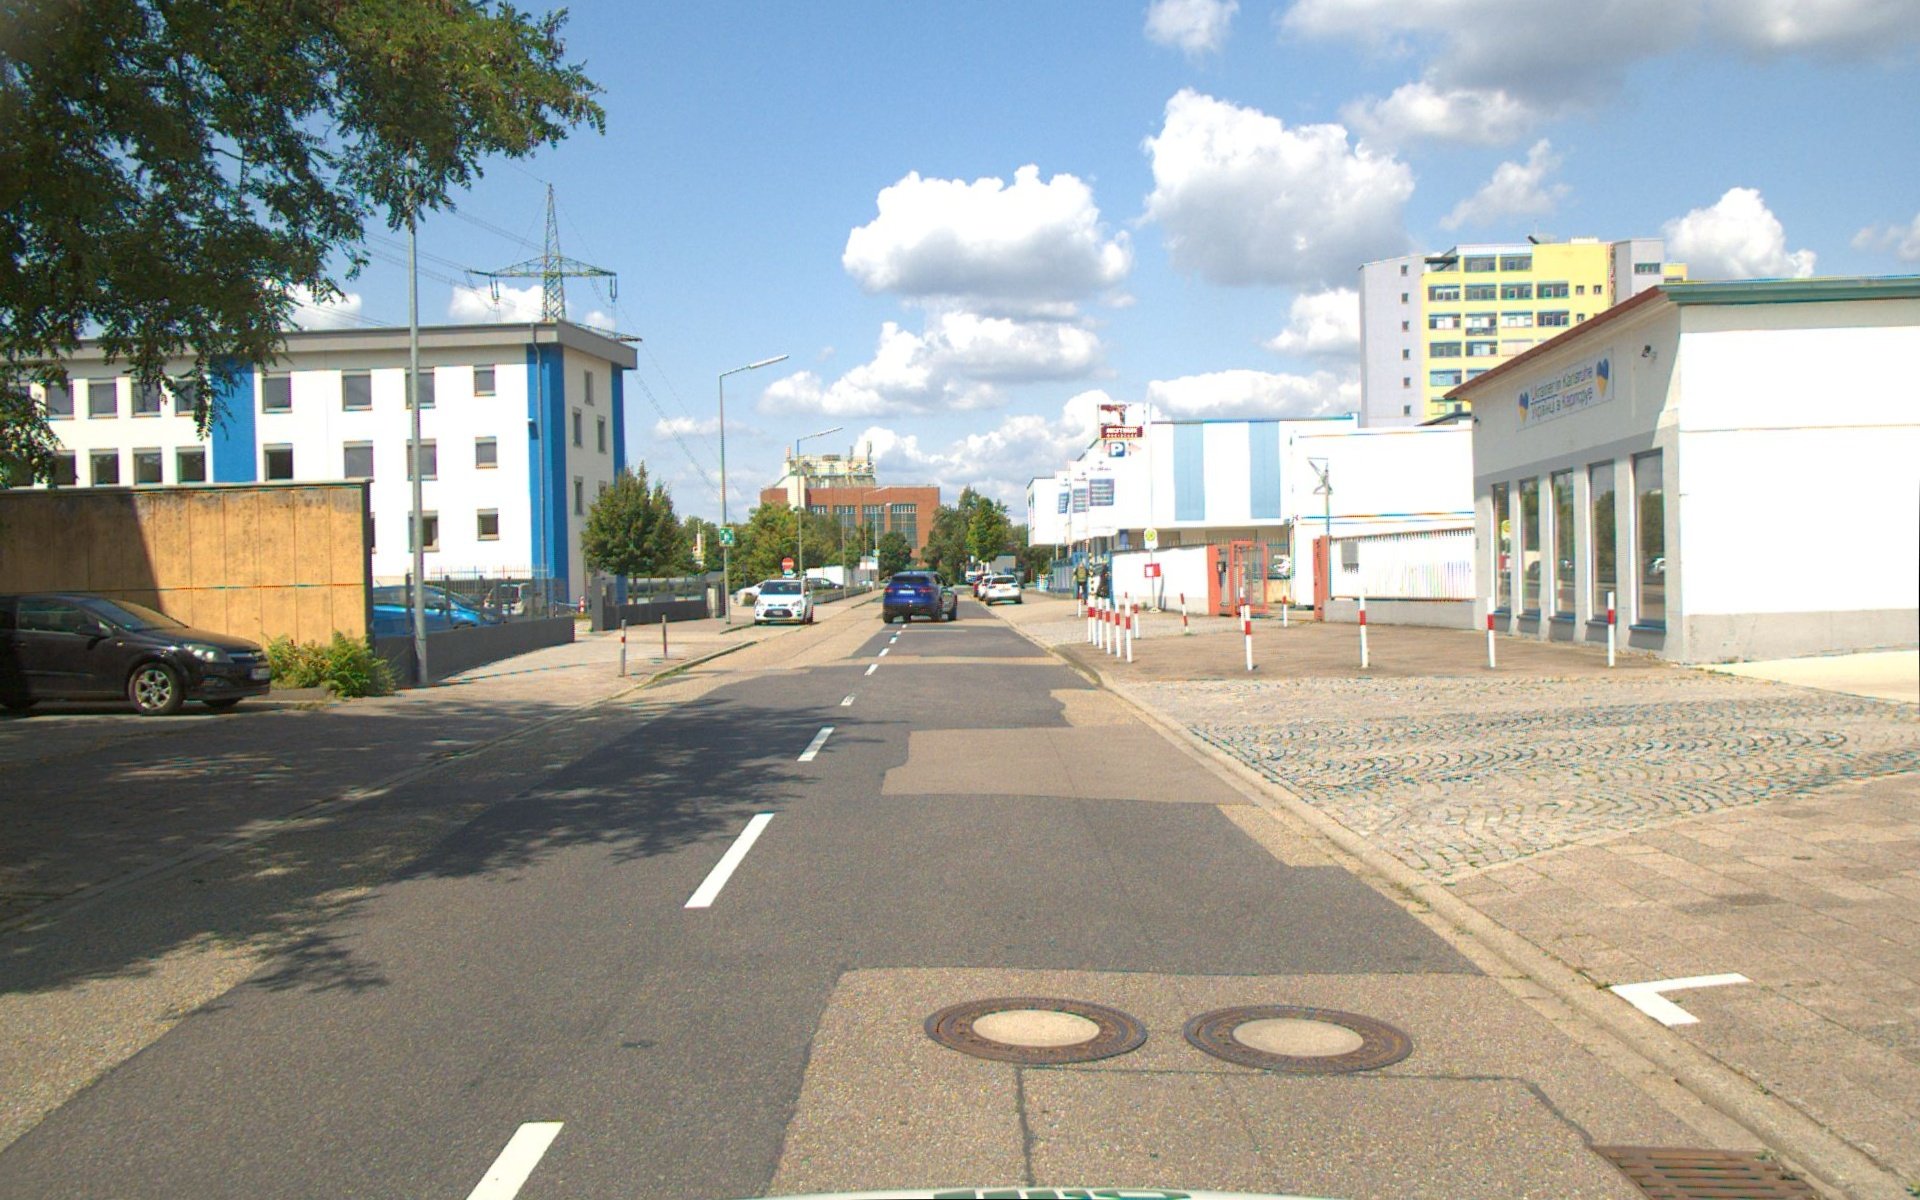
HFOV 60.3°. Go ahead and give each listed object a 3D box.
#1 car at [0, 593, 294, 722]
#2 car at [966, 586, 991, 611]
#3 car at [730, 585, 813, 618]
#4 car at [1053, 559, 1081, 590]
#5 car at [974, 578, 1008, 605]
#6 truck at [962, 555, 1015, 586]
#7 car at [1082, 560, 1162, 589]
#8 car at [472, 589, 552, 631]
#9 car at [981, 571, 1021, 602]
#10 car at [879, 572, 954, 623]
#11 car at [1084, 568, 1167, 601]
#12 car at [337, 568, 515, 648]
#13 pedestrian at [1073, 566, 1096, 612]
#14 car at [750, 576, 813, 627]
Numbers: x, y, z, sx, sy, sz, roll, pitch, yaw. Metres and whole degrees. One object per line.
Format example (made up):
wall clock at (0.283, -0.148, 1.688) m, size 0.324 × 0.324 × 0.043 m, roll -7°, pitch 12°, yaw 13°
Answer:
car at (-10.310, 0.670, 19.776) m, size 3.910 × 1.386 × 1.795 m, roll -2°, pitch 0°, yaw 2°
car at (1.316, -0.111, 117.819) m, size 1.719 × 1.679 × 4.678 m, roll -1°, pitch 1°, yaw 1°
car at (-11.118, 0.080, 97.825) m, size 4.662 × 1.630 × 1.998 m, roll -3°, pitch 1°, yaw -4°
car at (8.760, -2.065, 135.551) m, size 1.884 × 2.507 × 5.259 m, roll -1°, pitch 1°, yaw -1°
car at (1.825, -0.510, 98.771) m, size 1.798 × 1.547 × 4.460 m, roll -1°, pitch 1°, yaw -1°
truck at (3.564, -3.698, 204.243) m, size 2.277 × 3.629 × 9.352 m, roll 1°, pitch 3°, yaw 29°
car at (9.030, -1.426, 92.432) m, size 4.192 × 1.444 × 2.000 m, roll -2°, pitch 1°, yaw 0°
car at (-17.993, 0.384, 66.584) m, size 1.833 × 1.533 × 3.761 m, roll -2°, pitch 1°, yaw 5°
car at (2.122, -0.698, 86.117) m, size 1.830 × 1.547 × 4.597 m, roll -1°, pitch 1°, yaw -1°
car at (-1.417, -0.121, 55.874) m, size 1.869 × 1.621 × 4.705 m, roll -1°, pitch 1°, yaw 6°
car at (8.244, -0.777, 82.499) m, size 3.906 × 1.444 × 2.000 m, roll -2°, pitch 1°, yaw 0°
car at (-12.624, 0.167, 39.292) m, size 3.574 × 1.738 × 1.878 m, roll -2°, pitch 1°, yaw -2°
pedestrian at (5.022, -0.437, 66.884) m, size 0.754 × 1.787 × 0.787 m, roll -3°, pitch 0°, yaw -1°
car at (-6.368, 0.019, 59.361) m, size 1.830 × 1.738 × 4.752 m, roll -1°, pitch 1°, yaw -1°
